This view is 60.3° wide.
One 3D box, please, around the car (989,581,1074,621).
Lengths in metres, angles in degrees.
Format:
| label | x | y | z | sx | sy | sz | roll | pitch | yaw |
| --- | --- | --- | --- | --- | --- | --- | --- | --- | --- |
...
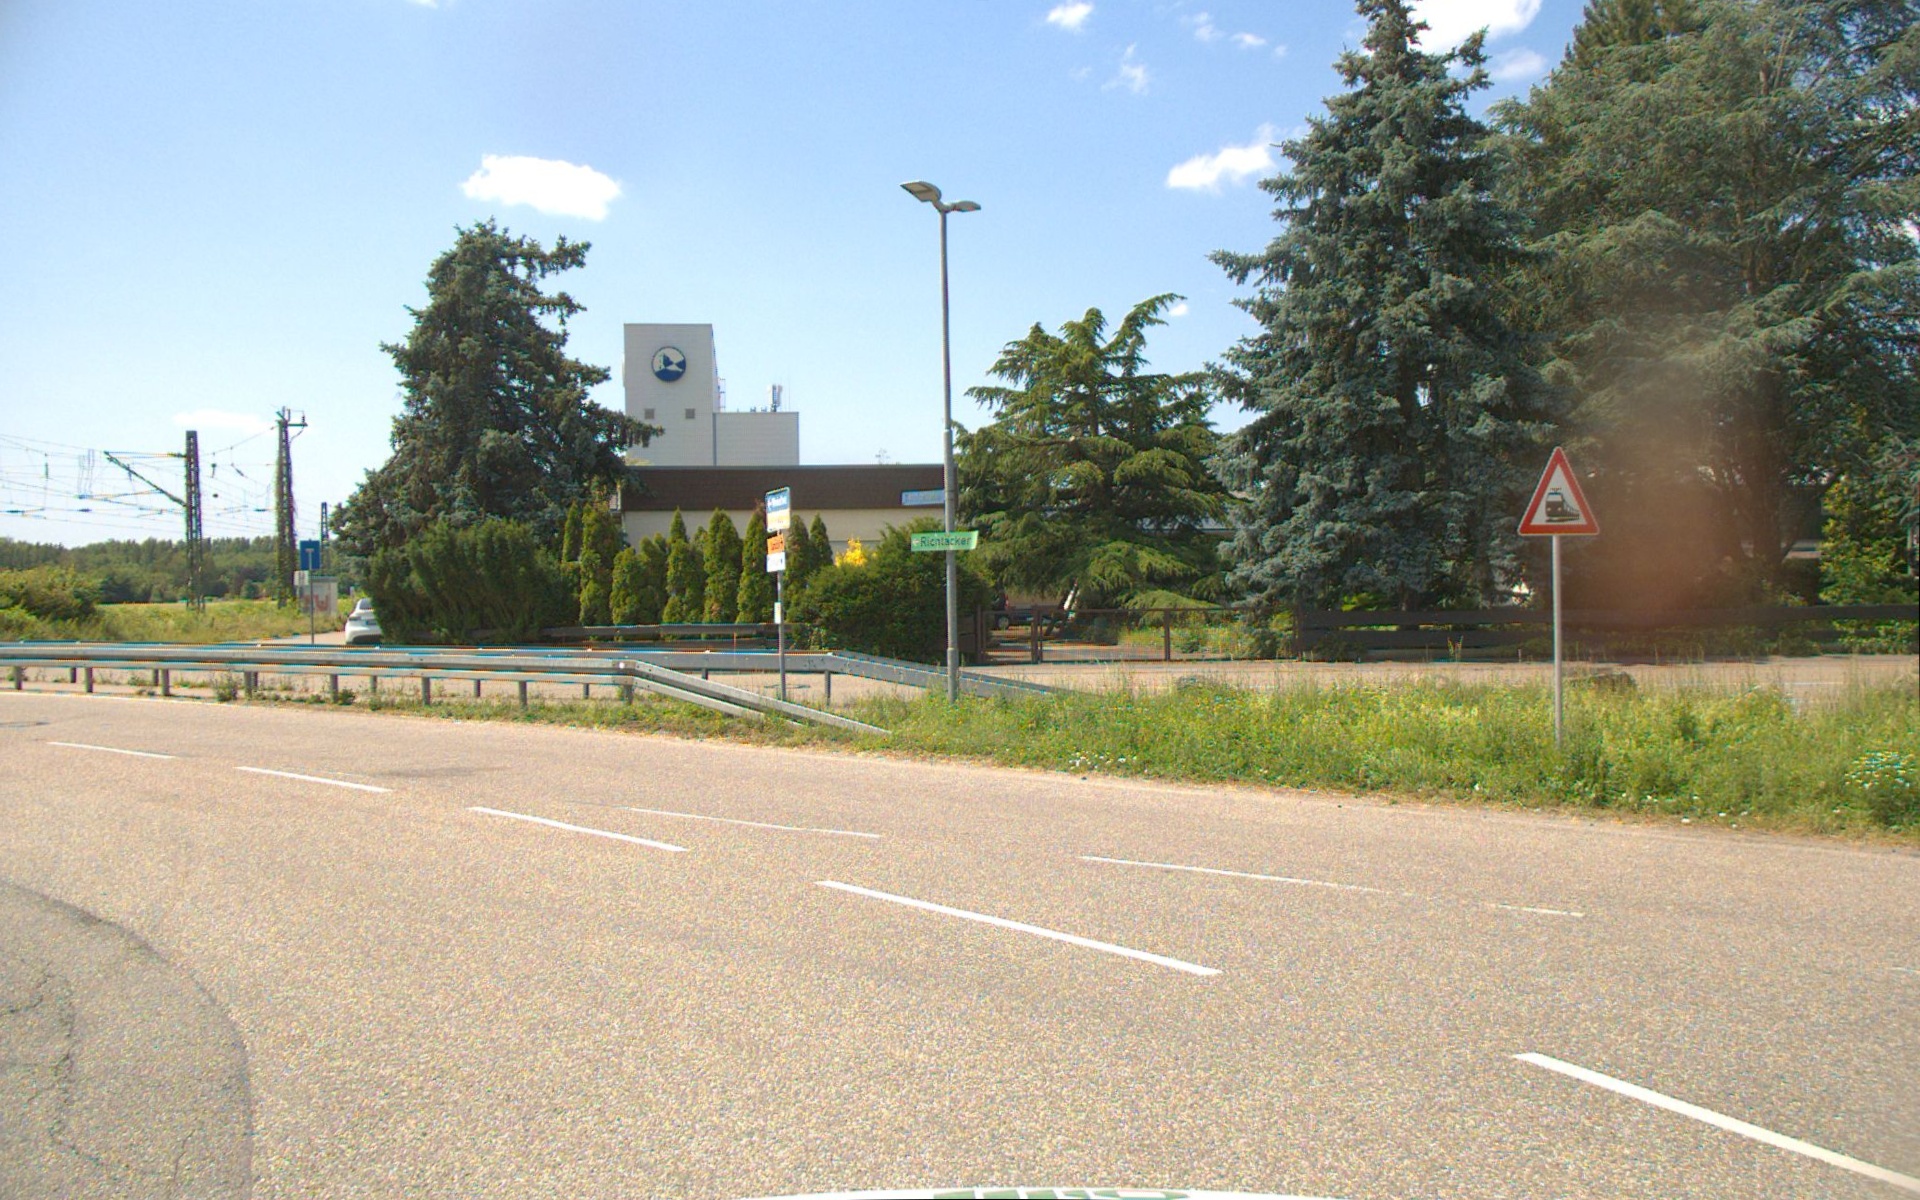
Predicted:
| label | x | y | z | sx | sy | sz | roll | pitch | yaw |
| --- | --- | --- | --- | --- | --- | --- | --- | --- | --- |
| car | 3.102 | 0.025 | 72.041 | 3.461 | 1.613 | 1.561 | -1 | 1 | -11 |

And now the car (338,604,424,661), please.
| label | x | y | z | sx | sy | sz | roll | pitch | yaw |
| --- | --- | --- | --- | --- | --- | --- | --- | --- | --- |
| car | -17.714 | 0.955 | 50.757 | 1.959 | 1.536 | 4.439 | -1 | 1 | -13 |
